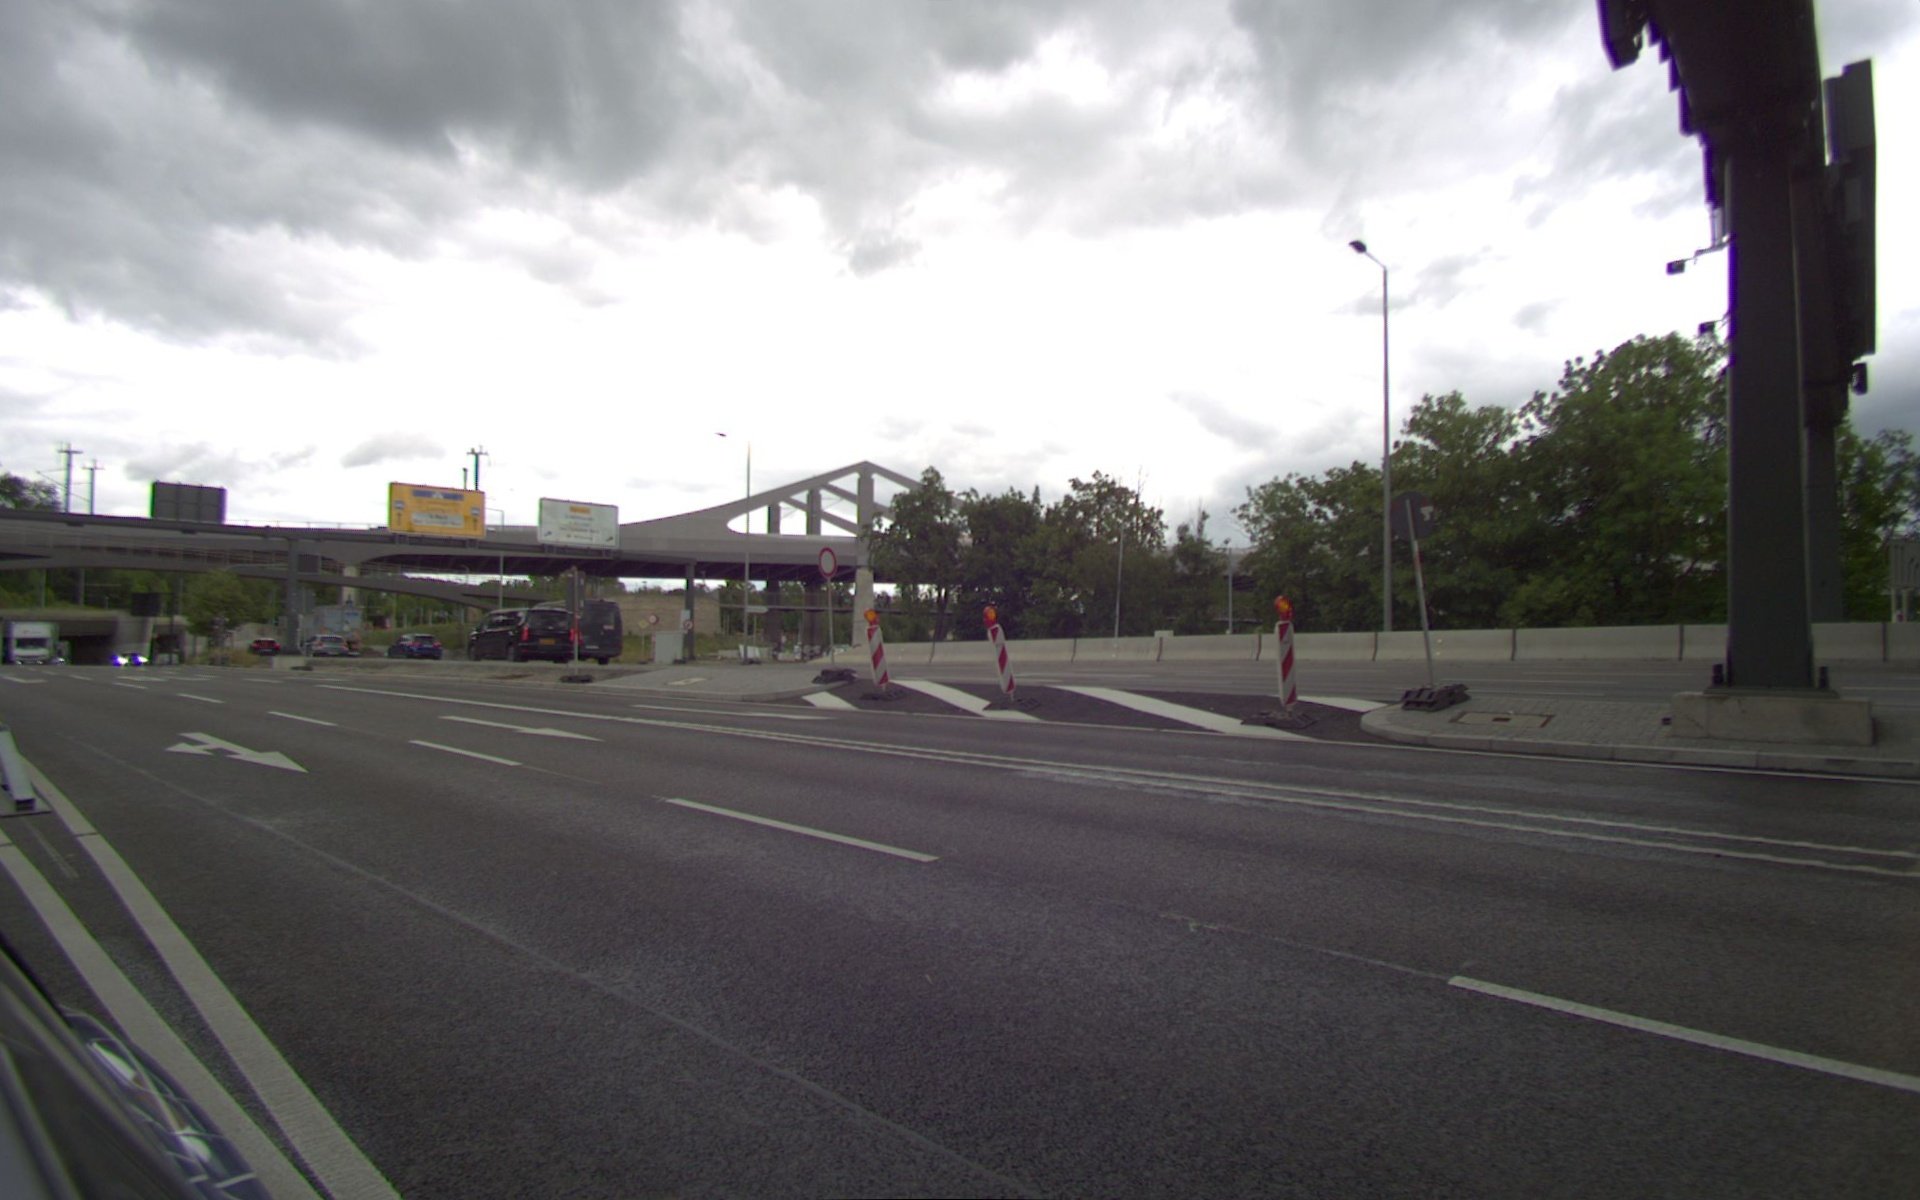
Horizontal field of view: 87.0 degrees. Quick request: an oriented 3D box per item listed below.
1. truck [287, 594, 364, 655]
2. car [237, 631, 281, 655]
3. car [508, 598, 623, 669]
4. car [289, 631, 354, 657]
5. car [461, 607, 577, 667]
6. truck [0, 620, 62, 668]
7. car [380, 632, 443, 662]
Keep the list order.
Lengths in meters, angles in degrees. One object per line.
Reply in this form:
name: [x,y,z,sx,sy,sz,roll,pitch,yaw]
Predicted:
truck: [-48.030,2.060,76.368,2.863,4.093,14.009,3,-5,-40]
car: [-52.649,3.252,76.034,4.452,1.633,1.687,-3,-7,43]
car: [-16.672,1.403,42.569,2.190,2.798,6.148,0,-2,-45]
car: [-34.982,2.432,55.389,4.254,1.341,1.866,-2,-4,41]
car: [-16.063,1.309,36.713,5.190,2.029,1.941,-1,-2,43]
truck: [-64.952,3.045,70.608,8.120,3.151,2.711,-3,-2,43]
car: [-32.095,2.754,59.155,4.486,1.697,1.866,-3,-3,41]
